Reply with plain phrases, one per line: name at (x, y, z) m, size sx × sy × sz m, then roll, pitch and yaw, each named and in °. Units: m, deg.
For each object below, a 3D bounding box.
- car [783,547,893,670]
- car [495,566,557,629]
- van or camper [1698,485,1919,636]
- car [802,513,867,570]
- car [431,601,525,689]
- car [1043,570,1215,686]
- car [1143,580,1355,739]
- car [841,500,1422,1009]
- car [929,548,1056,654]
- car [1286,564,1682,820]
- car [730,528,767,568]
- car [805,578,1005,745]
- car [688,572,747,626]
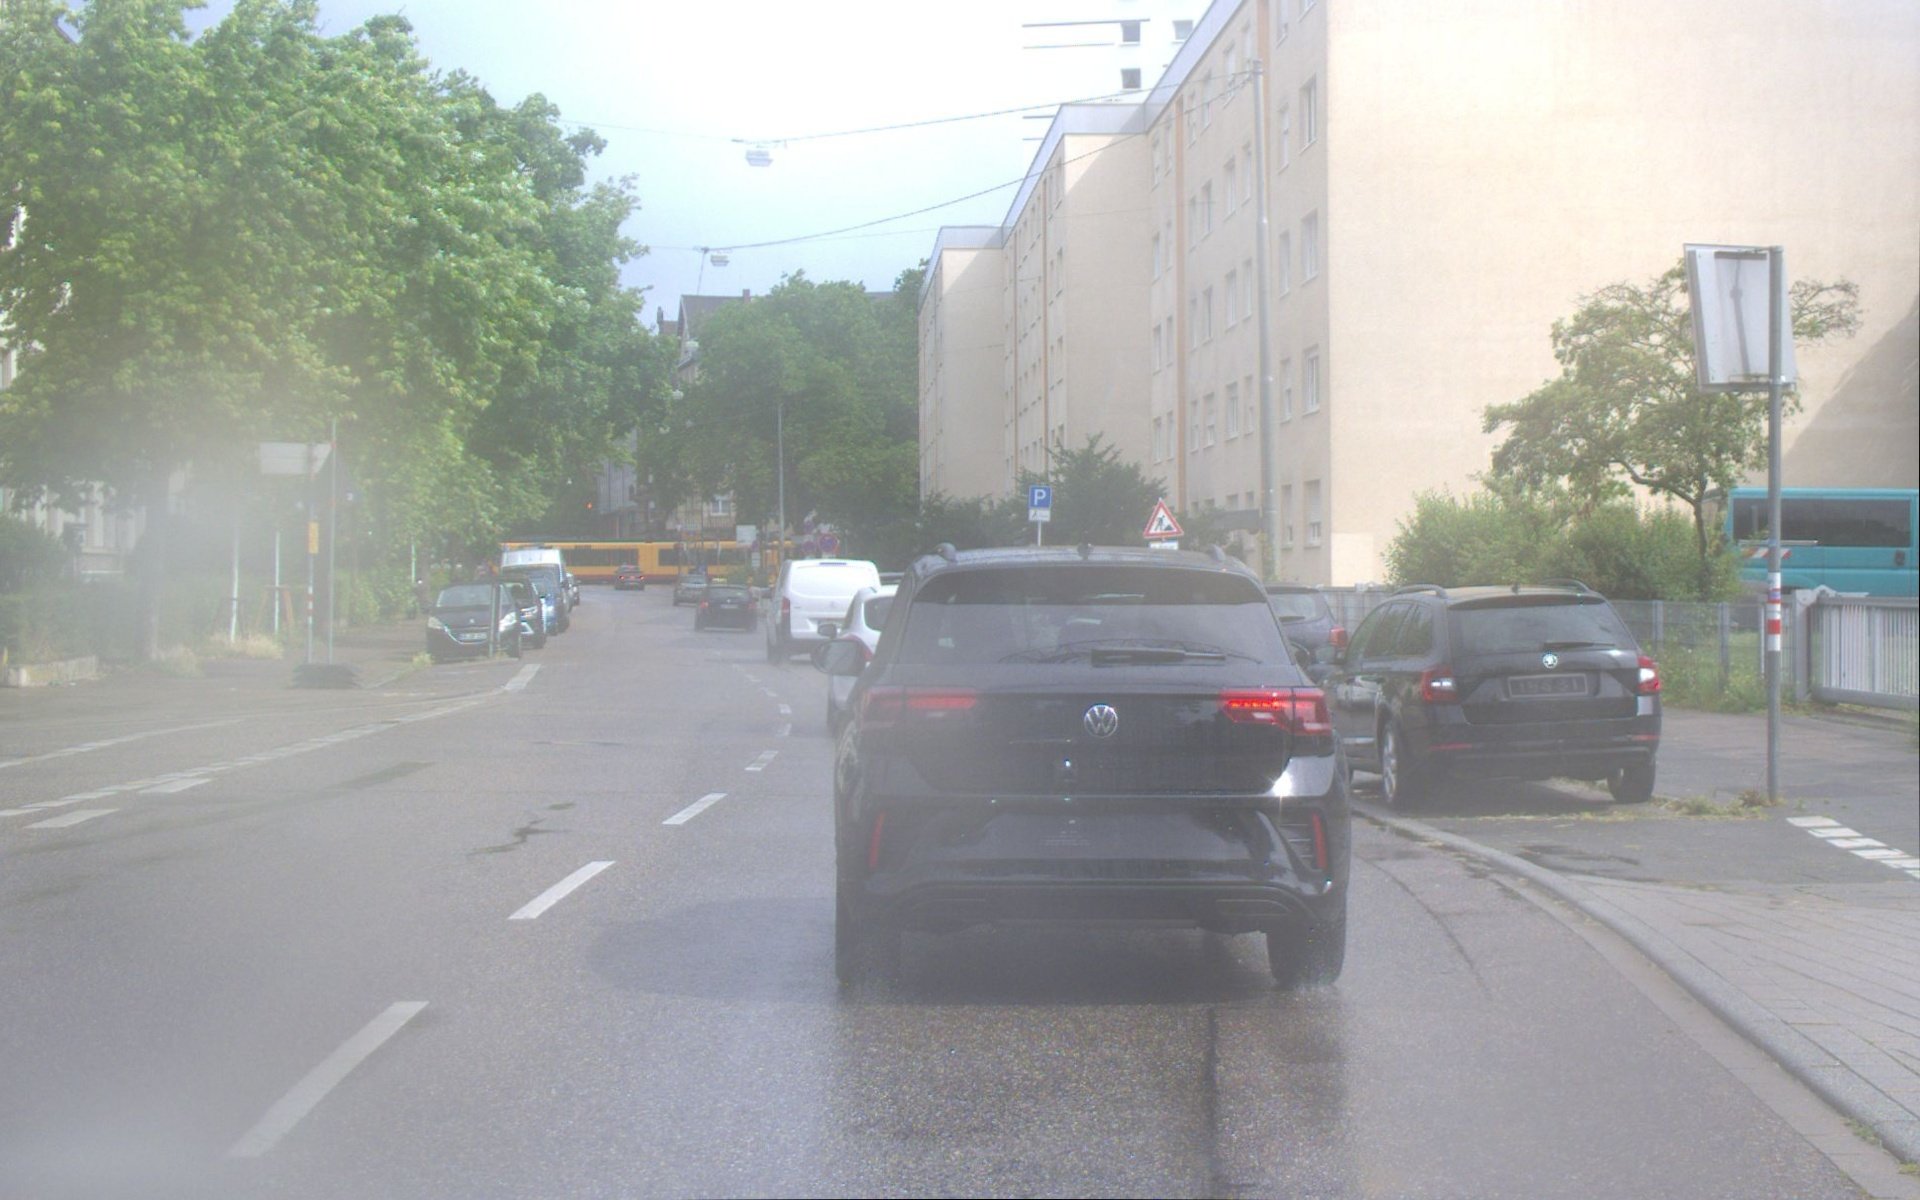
car at (-2.236, 0.165, 62.110) m, size 1.836 × 2.096 × 4.000 m, roll 2°, pitch 0°, yaw -3°
car at (-11.774, -0.095, 93.473) m, size 1.585 × 1.634 × 3.921 m, roll -2°, pitch 1°, yaw -7°
van or camper at (13.254, -0.581, 49.599) m, size 4.759 × 2.124 × 2.321 m, roll 0°, pitch 1°, yaw 2°
car at (-3.744, -1.736, 102.972) m, size 1.841 × 1.602 × 3.675 m, roll -2°, pitch 1°, yaw -1°
car at (-8.872, 0.801, 63.515) m, size 1.585 × 1.500 × 4.065 m, roll -2°, pitch 1°, yaw -7°
car at (2.262, 0.342, 46.944) m, size 1.748 × 1.503 × 4.113 m, roll 0°, pitch 1°, yaw -6°
car at (2.898, 0.589, 35.198) m, size 1.757 × 1.522 × 4.000 m, roll 0°, pitch 0°, yaw -1°
car at (0.500, 0.519, 13.409) m, size 1.873 × 1.640 × 4.062 m, roll 2°, pitch 0°, yaw -2°
car at (0.515, -0.012, 57.576) m, size 1.604 × 1.656 × 4.033 m, roll 1°, pitch 1°, yaw -7°
car at (3.525, 0.558, 23.926) m, size 1.774 × 1.534 × 4.379 m, roll -3°, pitch 1°, yaw -3°
car at (-10.189, -2.494, 165.437) m, size 1.665 × 1.831 × 4.001 m, roll -1°, pitch 1°, yaw -4°
car at (-0.583, 0.583, 33.891) m, size 1.813 × 1.498 × 4.000 m, roll 2°, pitch 0°, yaw -2°
car at (-7.173, -0.045, 101.404) m, size 1.604 × 1.505 × 3.549 m, roll -2°, pitch 1°, yaw -6°
